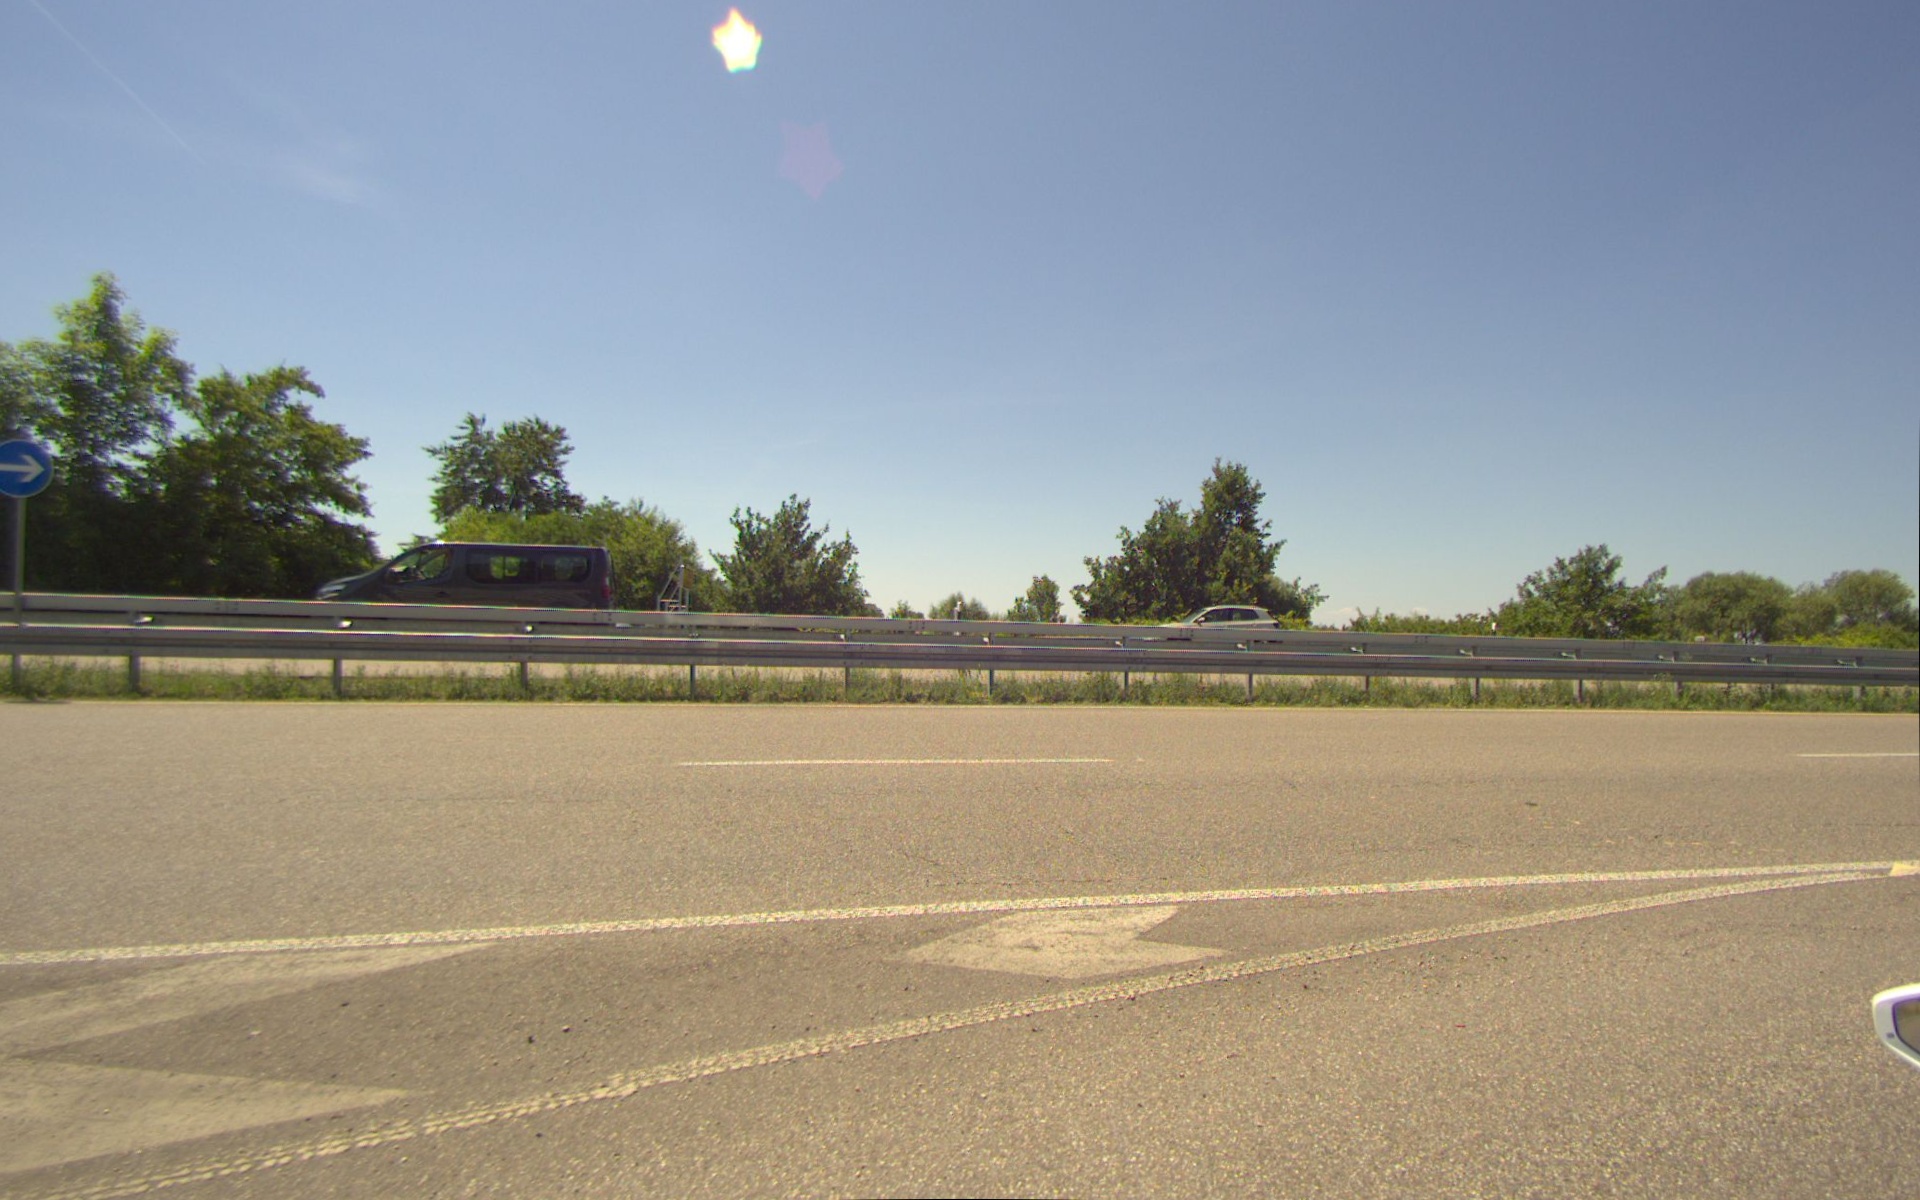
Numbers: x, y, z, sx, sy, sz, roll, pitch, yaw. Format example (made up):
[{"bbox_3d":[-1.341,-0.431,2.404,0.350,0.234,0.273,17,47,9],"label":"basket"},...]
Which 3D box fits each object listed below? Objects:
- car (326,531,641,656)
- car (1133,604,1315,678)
[{"bbox_3d":[-8.493,-0.070,18.475,4.831,1.918,2.204,3,-1,-16],"label":"car"},{"bbox_3d":[7.888,1.201,30.383,4.817,1.918,2.211,3,-1,-2],"label":"car"}]
